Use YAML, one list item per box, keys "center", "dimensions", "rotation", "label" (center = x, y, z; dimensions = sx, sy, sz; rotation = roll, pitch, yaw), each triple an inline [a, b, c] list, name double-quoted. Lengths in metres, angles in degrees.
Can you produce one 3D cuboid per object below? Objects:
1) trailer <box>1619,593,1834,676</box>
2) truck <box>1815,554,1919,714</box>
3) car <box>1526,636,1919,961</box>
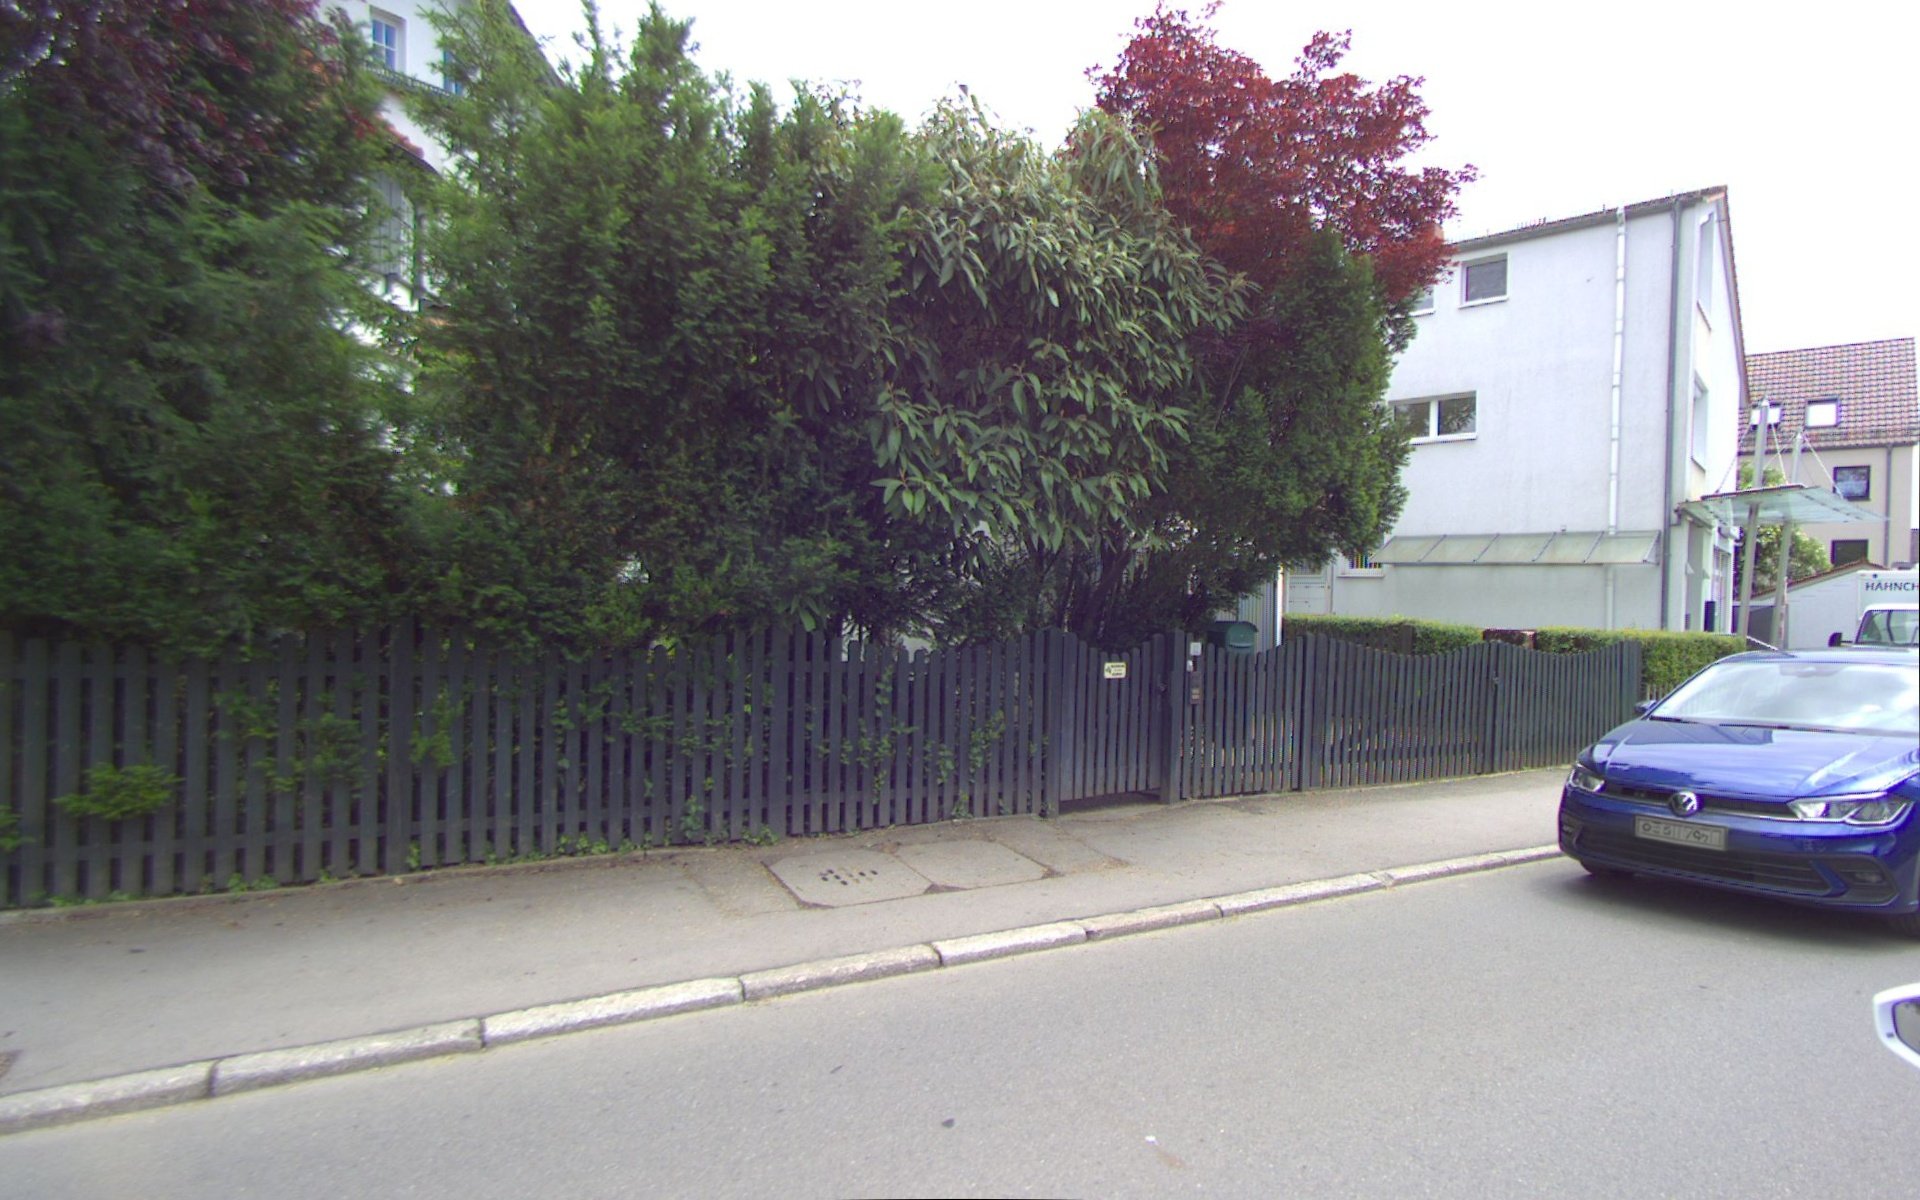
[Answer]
- center: [23.086, 0.946, 30.451]
  dimensions: [1.688, 2.108, 4.825]
  rotation: [0, 3, -37]
  label: "trailer"
- center: [19.774, 0.693, 20.258]
  dimensions: [6.646, 2.878, 2.455]
  rotation: [2, 0, -37]
  label: "truck"
- center: [5.465, 0.994, 6.271]
  dimensions: [3.883, 1.450, 1.685]
  rotation: [2, -4, -31]
  label: "car"
